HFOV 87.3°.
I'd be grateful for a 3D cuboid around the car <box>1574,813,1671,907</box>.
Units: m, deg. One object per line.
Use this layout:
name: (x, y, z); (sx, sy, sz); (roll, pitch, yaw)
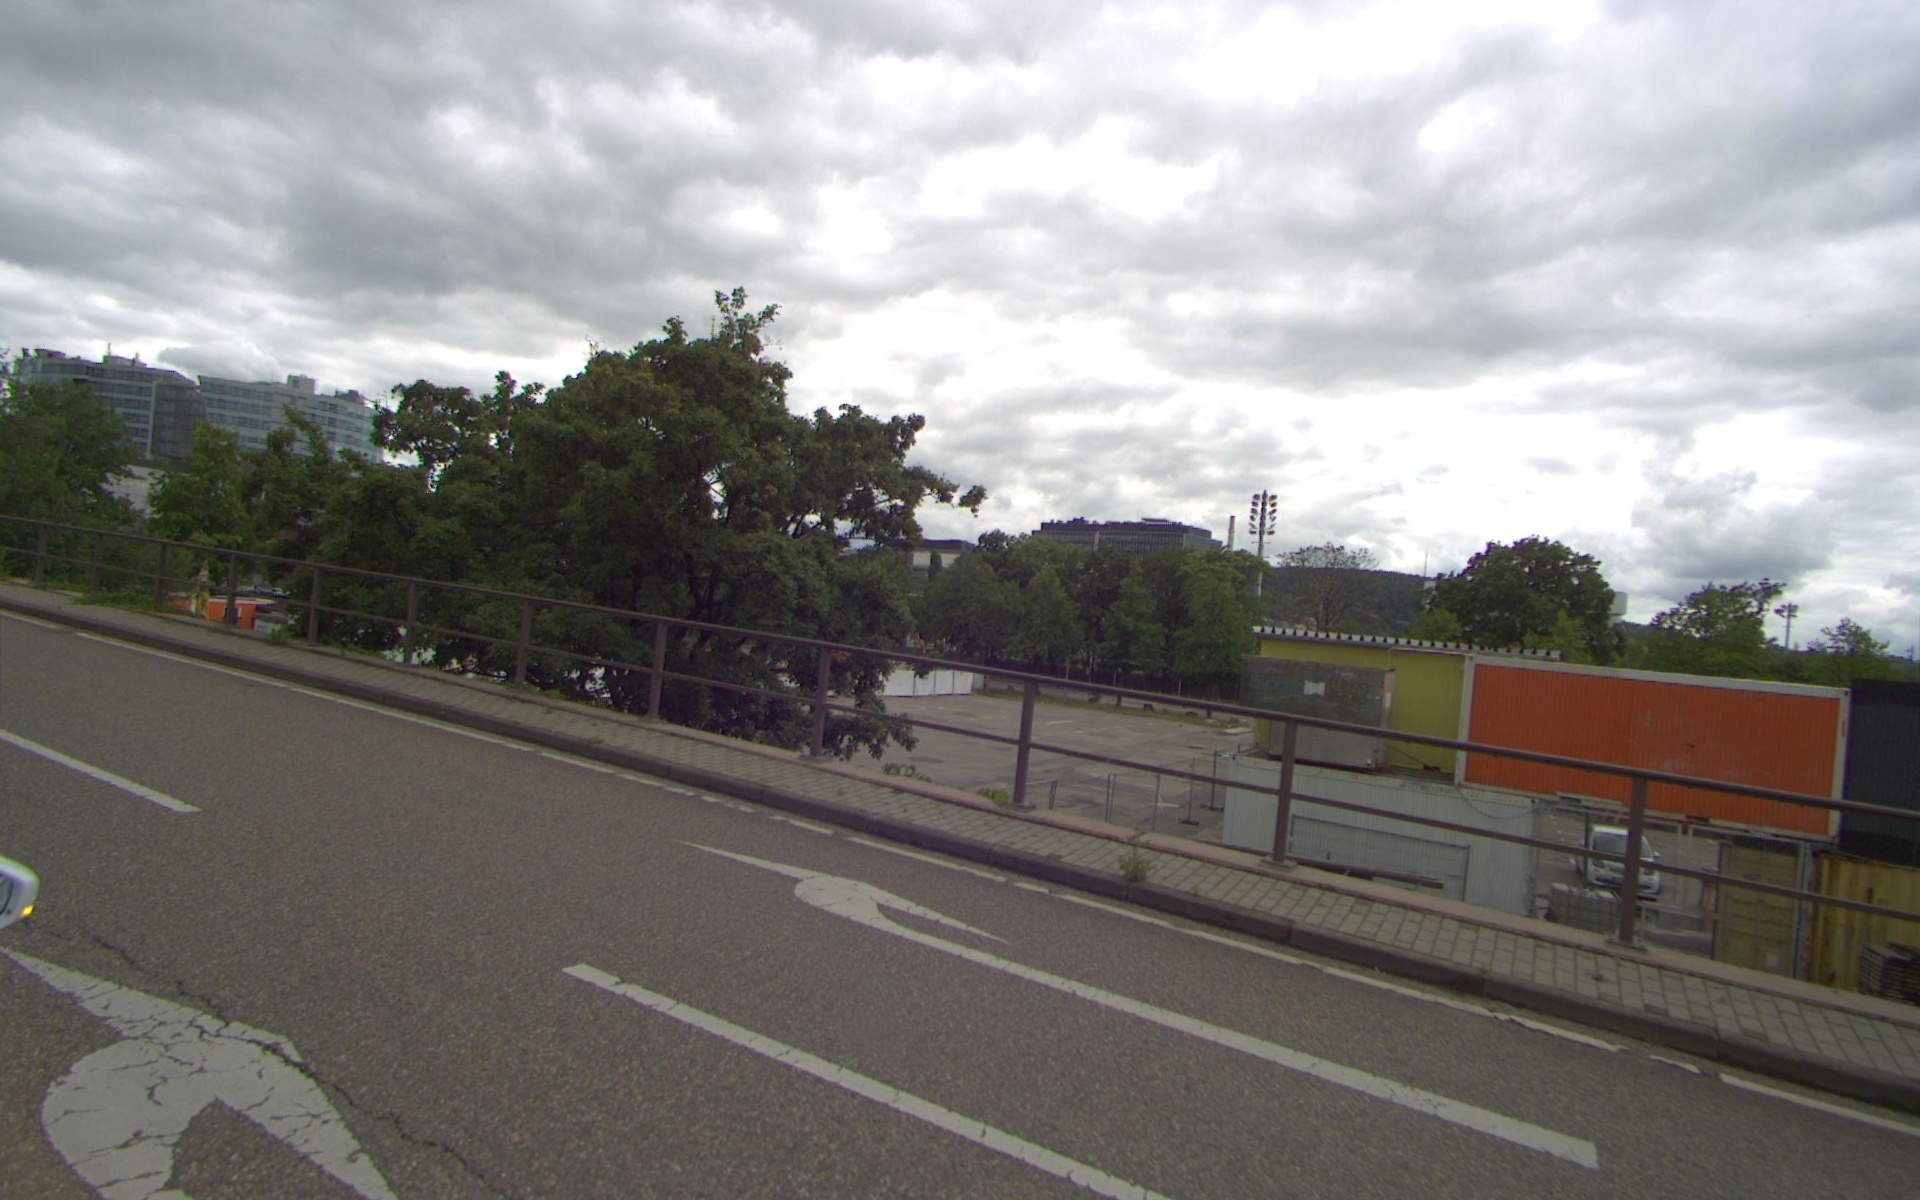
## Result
car: (18.236, 7.075, 27.777); (1.968, 1.552, 3.989); (6, 0, 33)
